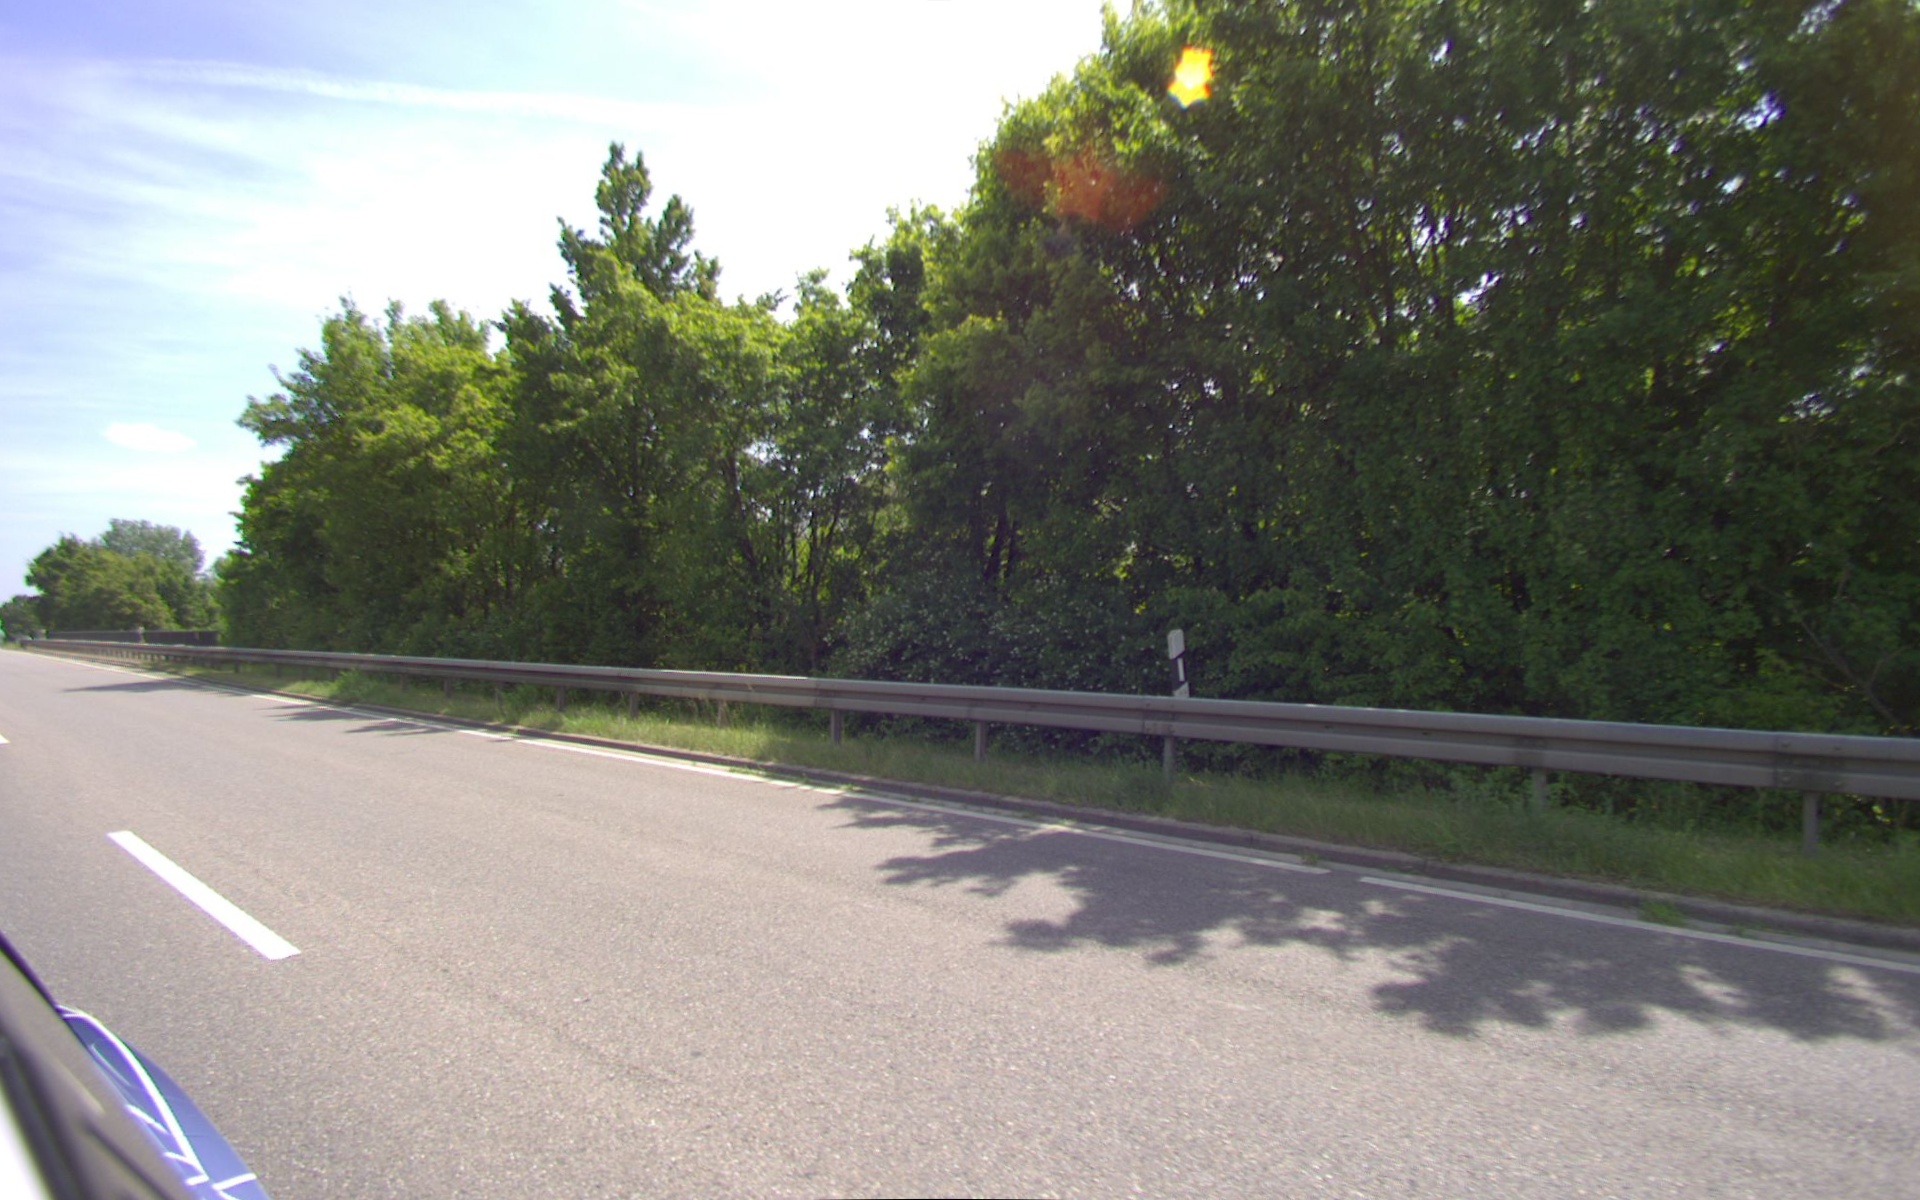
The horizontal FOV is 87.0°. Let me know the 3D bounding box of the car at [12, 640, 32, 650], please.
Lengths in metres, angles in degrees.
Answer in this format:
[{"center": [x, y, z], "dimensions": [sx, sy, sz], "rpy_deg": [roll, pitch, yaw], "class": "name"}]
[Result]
[{"center": [-143.747, 6.905, 155.153], "dimensions": [1.855, 1.523, 4.553], "rpy_deg": [0, -2, -38], "class": "car"}]
